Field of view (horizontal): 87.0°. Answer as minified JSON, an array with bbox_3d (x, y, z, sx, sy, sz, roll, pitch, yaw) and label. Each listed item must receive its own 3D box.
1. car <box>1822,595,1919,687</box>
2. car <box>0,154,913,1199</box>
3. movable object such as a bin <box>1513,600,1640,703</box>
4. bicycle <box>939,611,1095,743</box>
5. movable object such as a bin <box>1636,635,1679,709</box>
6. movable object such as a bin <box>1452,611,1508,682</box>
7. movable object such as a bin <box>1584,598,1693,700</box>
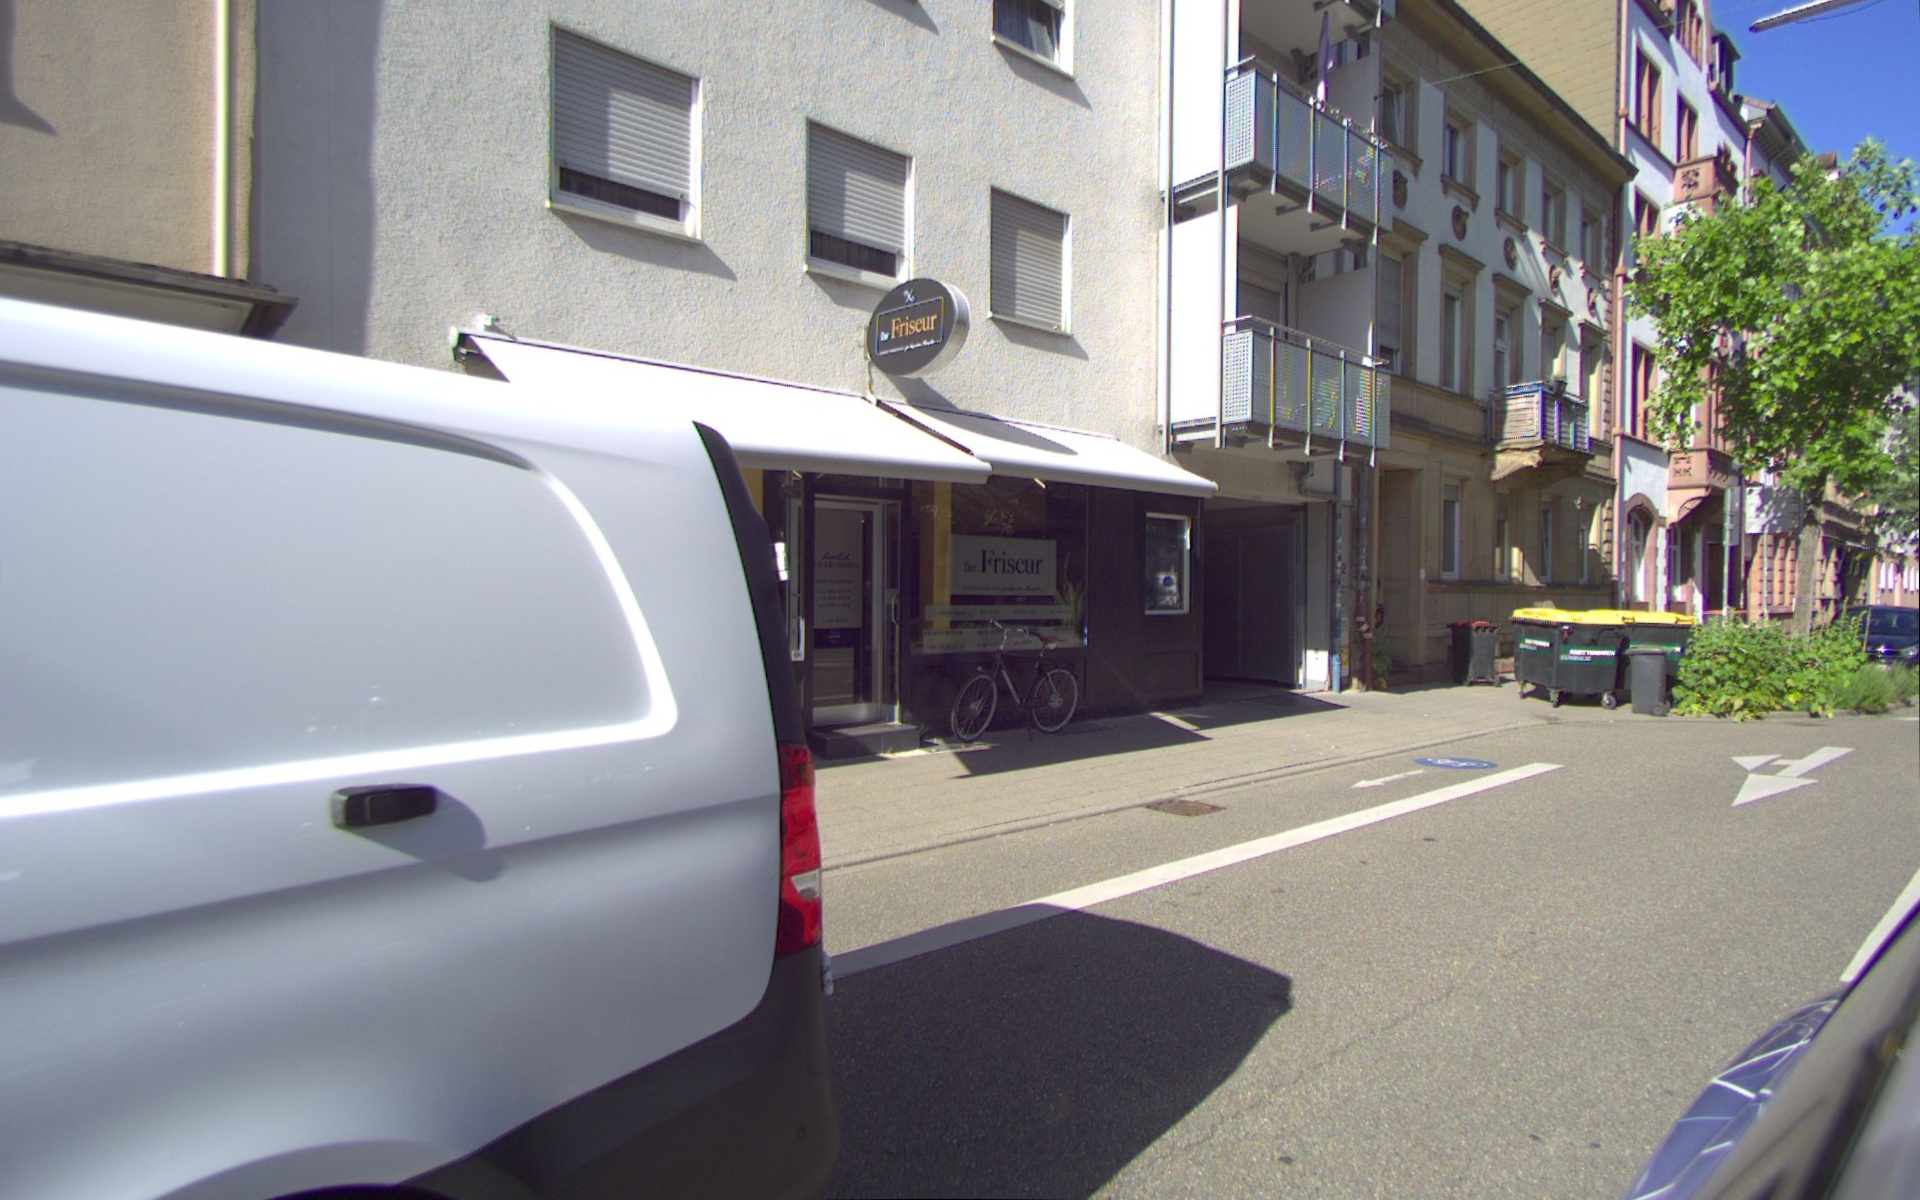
[{"bbox_3d":[16.835,0.680,18.216,3.293,1.510,1.550,0,1,-41],"label":"car"},{"bbox_3d":[-2.507,0.477,0.893,4.911,1.892,1.838,0,1,-43],"label":"car"},{"bbox_3d":[8.840,0.706,14.579,1.030,1.341,1.216,1,3,1],"label":"movable object such as a bin"},{"bbox_3d":[0.601,0.725,10.105,1.760,1.193,0.402,0,0,-41],"label":"bicycle"},{"bbox_3d":[9.569,0.978,13.888,0.399,0.933,0.478,3,3,41],"label":"movable object such as a bin"},{"bbox_3d":[8.530,0.747,16.625,0.557,1.094,0.617,1,3,1],"label":"movable object such as a bin"},{"bbox_3d":[9.956,0.692,14.902,0.943,1.365,1.066,1,3,11],"label":"movable object such as a bin"}]
